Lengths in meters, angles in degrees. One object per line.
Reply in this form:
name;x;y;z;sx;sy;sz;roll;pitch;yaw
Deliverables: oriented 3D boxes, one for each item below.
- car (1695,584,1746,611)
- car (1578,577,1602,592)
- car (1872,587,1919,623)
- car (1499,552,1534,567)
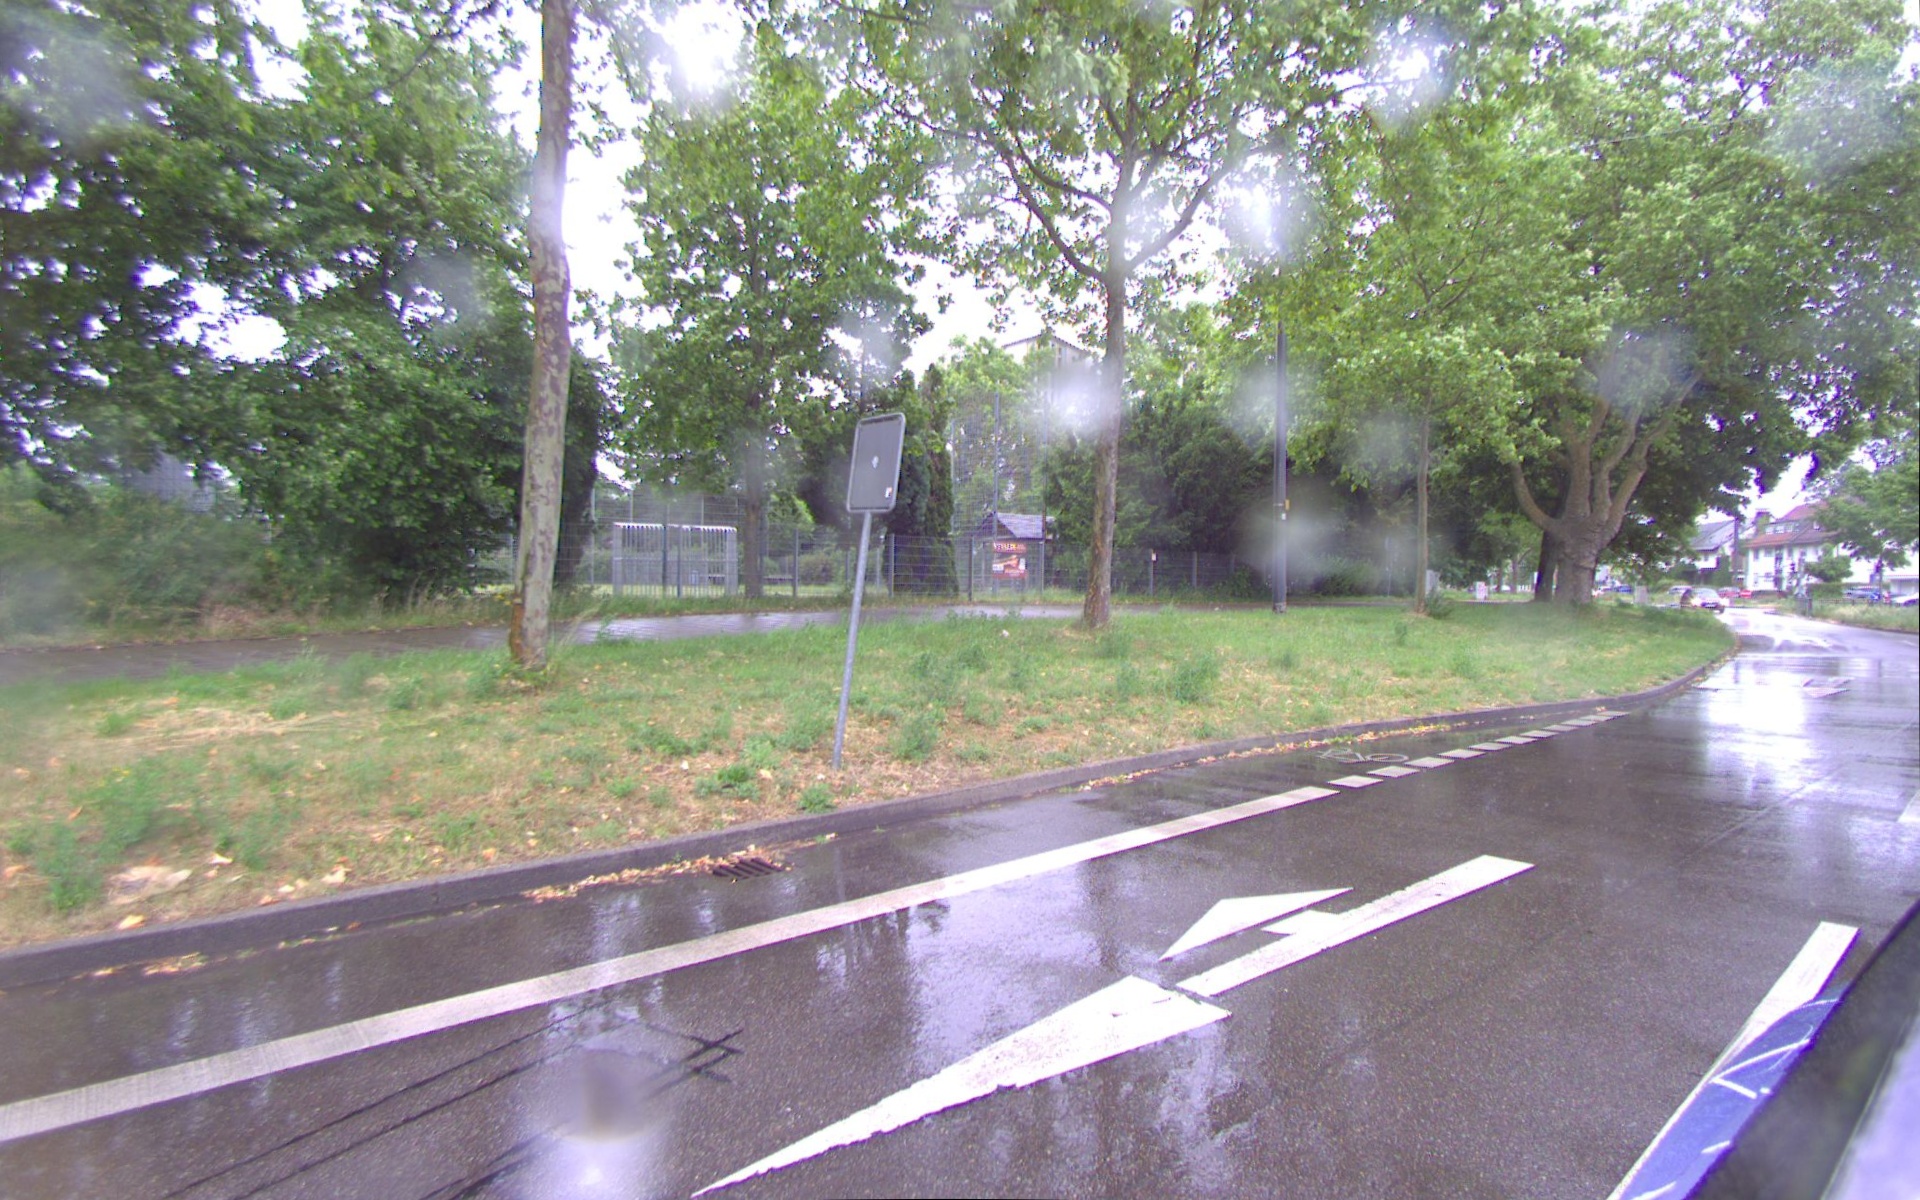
car;47.304;-0.150;63.002;1.855;1.638;3.773;0;0;27
car;61.223;-1.536;98.408;1.773;1.398;3.825;0;0;29
car;39.325;0.185;40.561;4.025;1.438;1.652;0;0;39
car;73.549;-5.305;133.793;3.958;1.850;1.983;0;0;25
